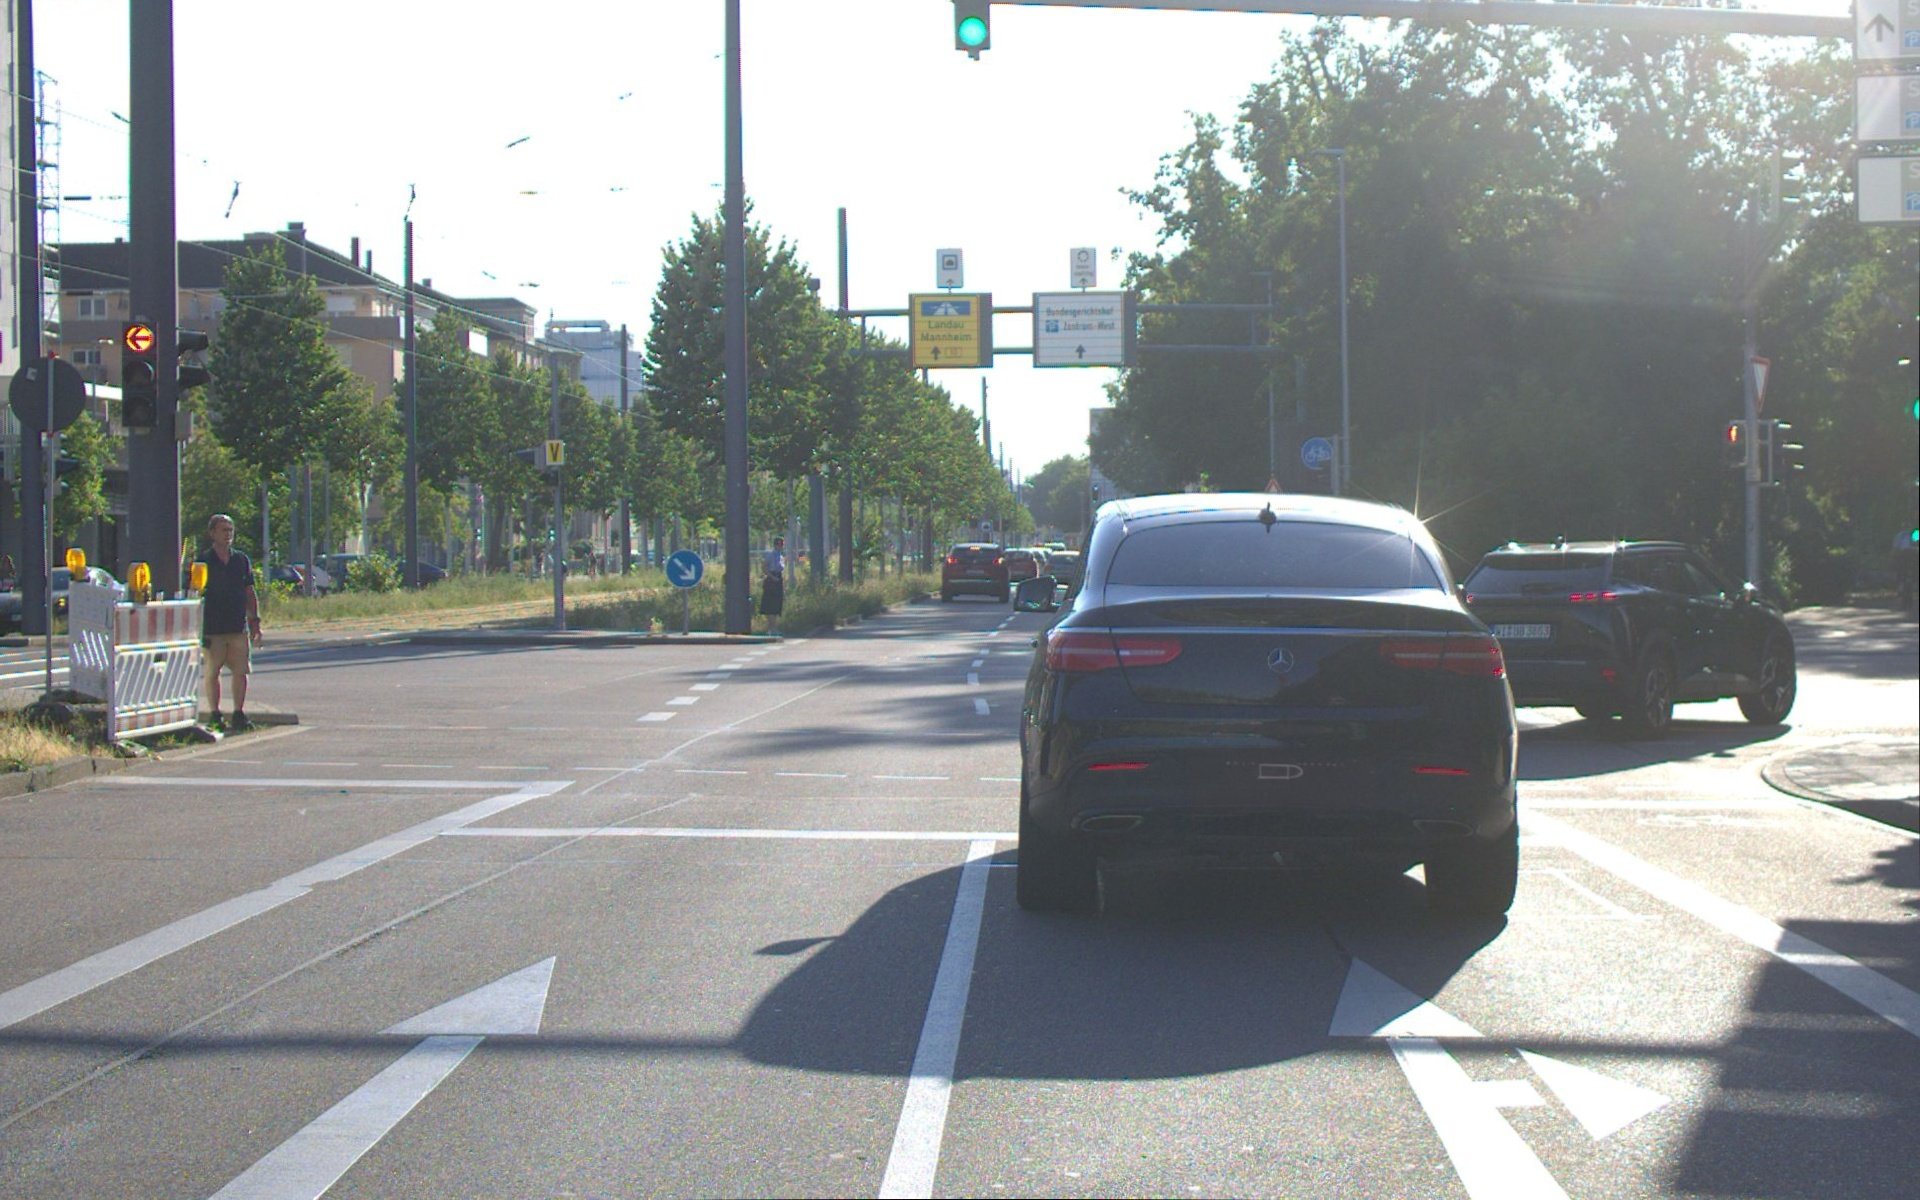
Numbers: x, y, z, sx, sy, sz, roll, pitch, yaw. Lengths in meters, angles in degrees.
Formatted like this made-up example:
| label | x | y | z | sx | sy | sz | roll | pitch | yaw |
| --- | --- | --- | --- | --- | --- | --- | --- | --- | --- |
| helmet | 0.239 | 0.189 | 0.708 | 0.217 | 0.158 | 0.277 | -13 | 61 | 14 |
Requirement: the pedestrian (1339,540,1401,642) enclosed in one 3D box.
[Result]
| label | x | y | z | sx | sy | sz | roll | pitch | yaw |
| --- | --- | --- | --- | --- | --- | --- | --- | --- | --- |
| pedestrian | 6.729 | -0.155 | 56.437 | 0.766 | 1.631 | 0.770 | -3 | 1 | -7 |

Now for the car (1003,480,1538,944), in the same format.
| label | x | y | z | sx | sy | sz | roll | pitch | yaw |
| --- | --- | --- | --- | --- | --- | --- | --- | --- | --- |
| car | 1.286 | 0.362 | 14.940 | 1.994 | 1.728 | 4.000 | 0 | 2 | 4 |

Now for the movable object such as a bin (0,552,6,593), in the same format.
| label | x | y | z | sx | sy | sz | roll | pitch | yaw |
| --- | --- | --- | --- | --- | --- | --- | --- | --- | --- |
| movable object such as a bin | -34.127 | -0.972 | 120.676 | 0.800 | 1.435 | 1.403 | -1 | 1 | 2 |

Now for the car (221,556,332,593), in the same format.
| label | x | y | z | sx | sy | sz | roll | pitch | yaw |
| --- | --- | --- | --- | --- | --- | --- | --- | --- | --- |
| car | -27.155 | -1.015 | 136.609 | 1.785 | 1.448 | 3.990 | 2 | 1 | 44 |

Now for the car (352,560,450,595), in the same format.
| label | x | y | z | sx | sy | sz | roll | pitch | yaw |
| --- | --- | --- | --- | --- | --- | --- | --- | --- | --- |
| car | -25.795 | -1.036 | 158.553 | 3.988 | 1.557 | 1.999 | 0 | 1 | -39 |

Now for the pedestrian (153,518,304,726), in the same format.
| label | x | y | z | sx | sy | sz | roll | pitch | yaw |
| --- | --- | --- | --- | --- | --- | --- | --- | --- | --- |
| pedestrian | -5.885 | 0.168 | 27.675 | 0.925 | 1.643 | 0.765 | 0 | 1 | 14 |

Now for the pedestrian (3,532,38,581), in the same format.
| label | x | y | z | sx | sy | sz | roll | pitch | yaw |
| --- | --- | --- | --- | --- | --- | --- | --- | --- | --- |
| pedestrian | -31.888 | -1.469 | 116.680 | 0.843 | 1.648 | 0.970 | 0 | 1 | 4 |

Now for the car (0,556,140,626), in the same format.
| label | x | y | z | sx | sy | sz | roll | pitch | yaw |
| --- | --- | --- | --- | --- | --- | --- | --- | --- | --- |
| car | -18.142 | -0.206 | 69.410 | 1.891 | 1.339 | 4.850 | -1 | 1 | 2 |

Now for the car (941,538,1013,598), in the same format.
| label | x | y | z | sx | sy | sz | roll | pitch | yaw |
| --- | --- | --- | --- | --- | --- | --- | --- | --- | --- |
| car | 0.485 | -0.912 | 95.043 | 1.886 | 1.575 | 4.000 | 0 | 2 | 1 |

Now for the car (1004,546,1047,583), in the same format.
| label | x | y | z | sx | sy | sz | roll | pitch | yaw |
| --- | --- | --- | --- | --- | --- | --- | --- | --- | --- |
| car | 2.938 | -1.605 | 154.135 | 1.886 | 1.575 | 4.000 | 0 | 2 | 1 |

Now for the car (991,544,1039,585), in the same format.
| label | x | y | z | sx | sy | sz | roll | pitch | yaw |
| --- | --- | --- | --- | --- | --- | --- | --- | --- | --- |
| car | 2.253 | -1.443 | 140.027 | 1.886 | 1.575 | 4.000 | 0 | 2 | 1 |

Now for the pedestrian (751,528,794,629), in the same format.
| label | x | y | z | sx | sy | sz | roll | pitch | yaw |
| --- | --- | --- | --- | --- | --- | --- | --- | --- | --- |
| pedestrian | -3.183 | -0.366 | 58.470 | 0.598 | 1.693 | 0.714 | -1 | 1 | 8 |

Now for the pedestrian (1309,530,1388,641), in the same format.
| label | x | y | z | sx | sy | sz | roll | pitch | yaw |
| --- | --- | --- | --- | --- | --- | --- | --- | --- | --- |
| pedestrian | 6.481 | -0.244 | 57.381 | 0.856 | 1.796 | 0.907 | -3 | 1 | -32 |

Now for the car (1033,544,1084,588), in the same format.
| label | x | y | z | sx | sy | sz | roll | pitch | yaw |
| --- | --- | --- | --- | --- | --- | --- | --- | --- | --- |
| car | 3.748 | -1.306 | 130.901 | 1.886 | 1.575 | 4.000 | 0 | 2 | 1 |

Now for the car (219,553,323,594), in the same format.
| label | x | y | z | sx | sy | sz | roll | pitch | yaw |
| --- | --- | --- | --- | --- | --- | --- | --- | --- | --- |
| car | -26.860 | -1.034 | 134.037 | 3.615 | 1.518 | 1.620 | 1 | 1 | -38 |

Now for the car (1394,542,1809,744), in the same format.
| label | x | y | z | sx | sy | sz | roll | pitch | yaw |
| --- | --- | --- | --- | --- | --- | --- | --- | --- | --- |
| car | 5.346 | 0.287 | 28.294 | 1.901 | 1.522 | 4.051 | 1 | 1 | 34 |

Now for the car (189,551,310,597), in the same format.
| label | x | y | z | sx | sy | sz | roll | pitch | yaw |
| --- | --- | --- | --- | --- | --- | --- | --- | --- | --- |
| car | -26.968 | -0.995 | 130.500 | 4.084 | 1.595 | 1.749 | 1 | 1 | -38 |
